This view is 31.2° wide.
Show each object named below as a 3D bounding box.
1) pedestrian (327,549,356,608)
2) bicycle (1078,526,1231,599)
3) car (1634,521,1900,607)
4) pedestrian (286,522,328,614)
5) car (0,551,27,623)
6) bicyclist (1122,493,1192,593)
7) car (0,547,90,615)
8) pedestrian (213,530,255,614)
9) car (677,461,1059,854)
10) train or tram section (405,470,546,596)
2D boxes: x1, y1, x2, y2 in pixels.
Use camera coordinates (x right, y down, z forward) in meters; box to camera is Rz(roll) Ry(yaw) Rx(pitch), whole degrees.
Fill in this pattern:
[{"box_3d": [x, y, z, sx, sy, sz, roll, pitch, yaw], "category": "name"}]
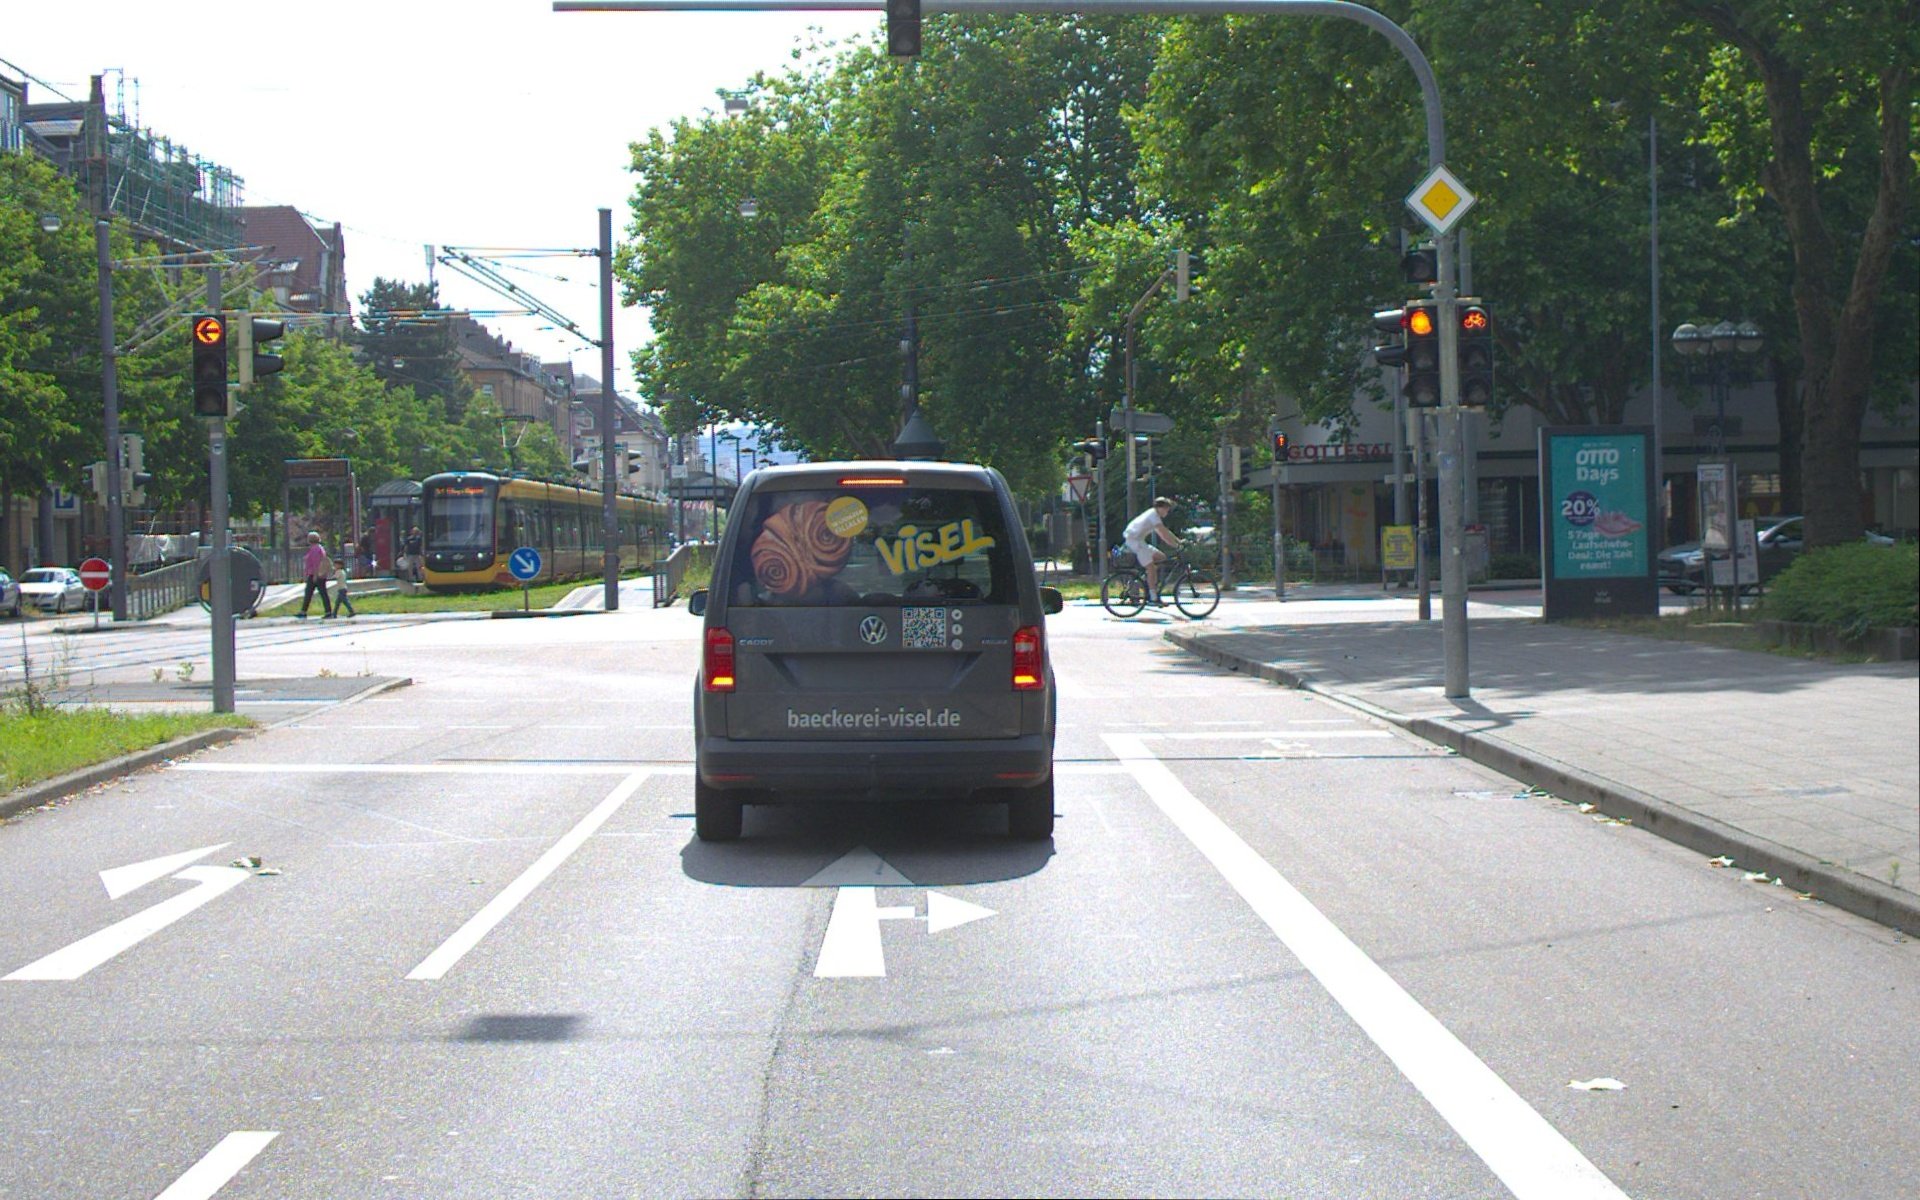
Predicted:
[{"box_3d": [-12.230, -0.423, 67.966, 0.463, 1.140, 0.435, -2, 1, -1], "category": "pedestrian"}, {"box_3d": [3.002, -0.585, 53.222, 2.301, 1.045, 0.897, -2, 1, 1], "category": "bicycle"}, {"box_3d": [14.395, -0.649, 61.302, 4.480, 1.385, 1.707, -2, 1, -24], "category": "car"}, {"box_3d": [-12.823, -0.640, 67.529, 0.659, 1.778, 0.660, -2, 1, -1], "category": "pedestrian"}, {"box_3d": [-28.124, -0.360, 97.943, 1.993, 2.007, 4.000, -2, 1, -1], "category": "car"}, {"box_3d": [3.049, -0.884, 53.255, 0.997, 1.506, 0.780, -2, 1, 0], "category": "bicyclist"}, {"box_3d": [-28.437, -0.603, 106.447, 1.993, 2.007, 4.000, -2, 1, -1], "category": "car"}, {"box_3d": [-14.720, -0.575, 69.691, 0.659, 1.679, 0.655, -2, 1, -1], "category": "pedestrian"}, {"box_3d": [-0.437, 0.223, 17.490, 1.750, 1.802, 3.475, 0, 1, -1], "category": "car"}, {"box_3d": [-13.815, -1.959, 99.016, 2.240, 3.320, 12.972, -2, 1, -1], "category": "train or tram section"}]
